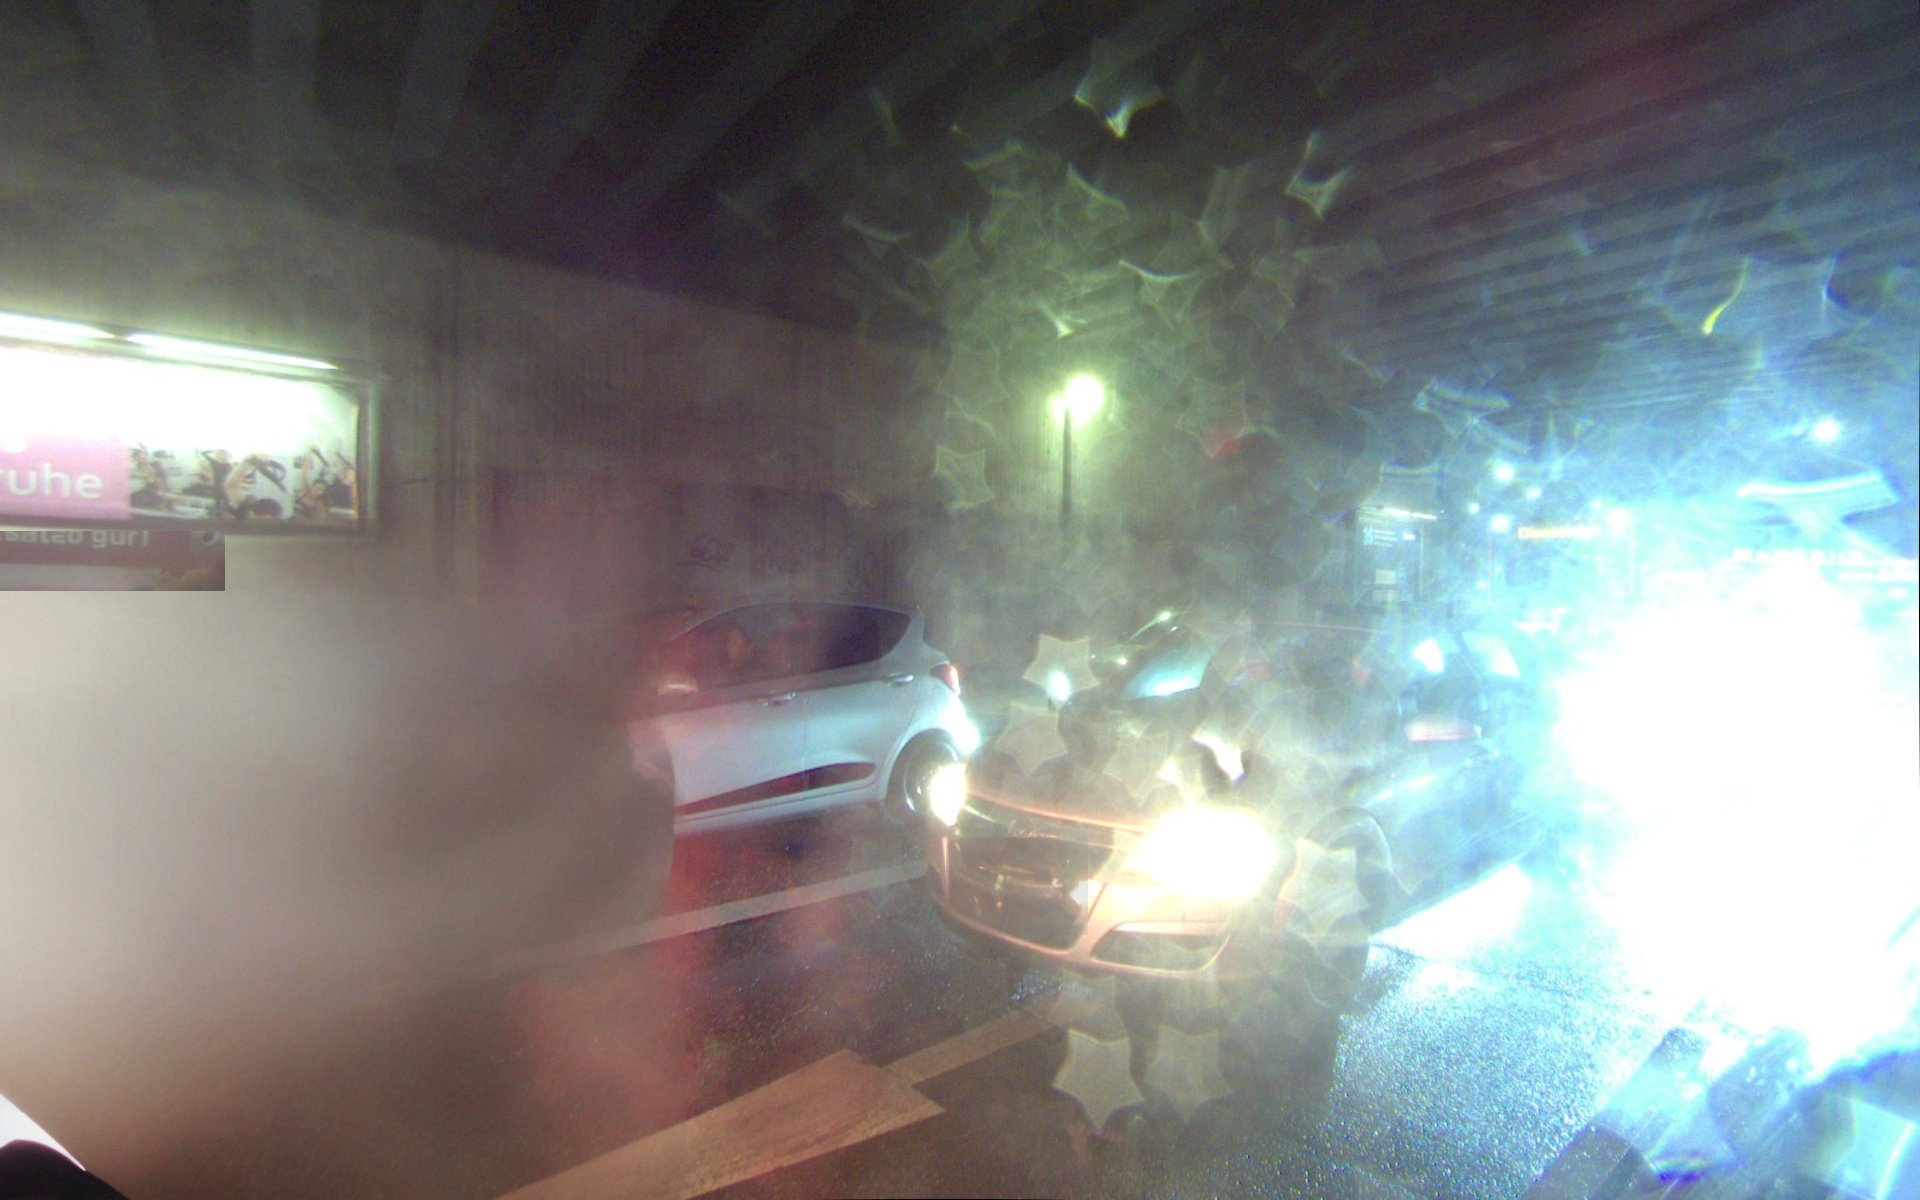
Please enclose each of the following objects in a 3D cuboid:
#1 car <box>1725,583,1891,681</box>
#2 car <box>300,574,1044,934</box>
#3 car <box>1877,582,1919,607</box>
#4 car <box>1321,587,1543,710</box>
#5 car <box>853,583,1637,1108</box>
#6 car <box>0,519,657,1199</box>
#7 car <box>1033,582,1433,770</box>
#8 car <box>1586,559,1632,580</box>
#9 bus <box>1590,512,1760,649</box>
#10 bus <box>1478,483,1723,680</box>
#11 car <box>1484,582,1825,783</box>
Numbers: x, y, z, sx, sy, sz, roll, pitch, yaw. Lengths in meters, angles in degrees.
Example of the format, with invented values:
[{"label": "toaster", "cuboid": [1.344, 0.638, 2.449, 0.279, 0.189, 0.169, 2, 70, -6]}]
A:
[{"label": "car", "cuboid": [15.022, 0.468, 17.864, 3.906, 1.481, 1.696, -1, 3, -42]}, {"label": "car", "cuboid": [-1.519, 0.610, 6.251, 4.091, 1.464, 1.723, -1, 3, -42]}, {"label": "car", "cuboid": [58.719, -0.358, 62.442, 1.810, 1.482, 4.391, 0, 1, 23]}, {"label": "car", "cuboid": [7.141, 0.606, 15.117, 1.721, 1.505, 4.096, 3, 3, 44]}, {"label": "car", "cuboid": [1.646, 0.658, 4.863, 4.091, 1.464, 1.723, -1, 1, -42]}, {"label": "car", "cuboid": [-2.700, 0.610, 0.966, 4.308, 1.464, 1.723, -1, 3, -42]}, {"label": "car", "cuboid": [3.011, 0.583, 10.481, 4.705, 1.505, 1.723, -1, 2, -42]}, {"label": "car", "cuboid": [46.335, -2.154, 72.308, 1.685, 1.407, 3.979, 0, 1, 17]}, {"label": "bus", "cuboid": [20.395, -0.551, 28.566, 2.733, 3.278, 9.551, 1, 1, 43]}, {"label": "bus", "cuboid": [13.936, -0.400, 21.542, 2.733, 3.318, 9.551, 1, 1, 43]}, {"label": "car", "cuboid": [6.716, 0.625, 9.611, 4.091, 1.506, 1.722, -1, -2, -42]}]
